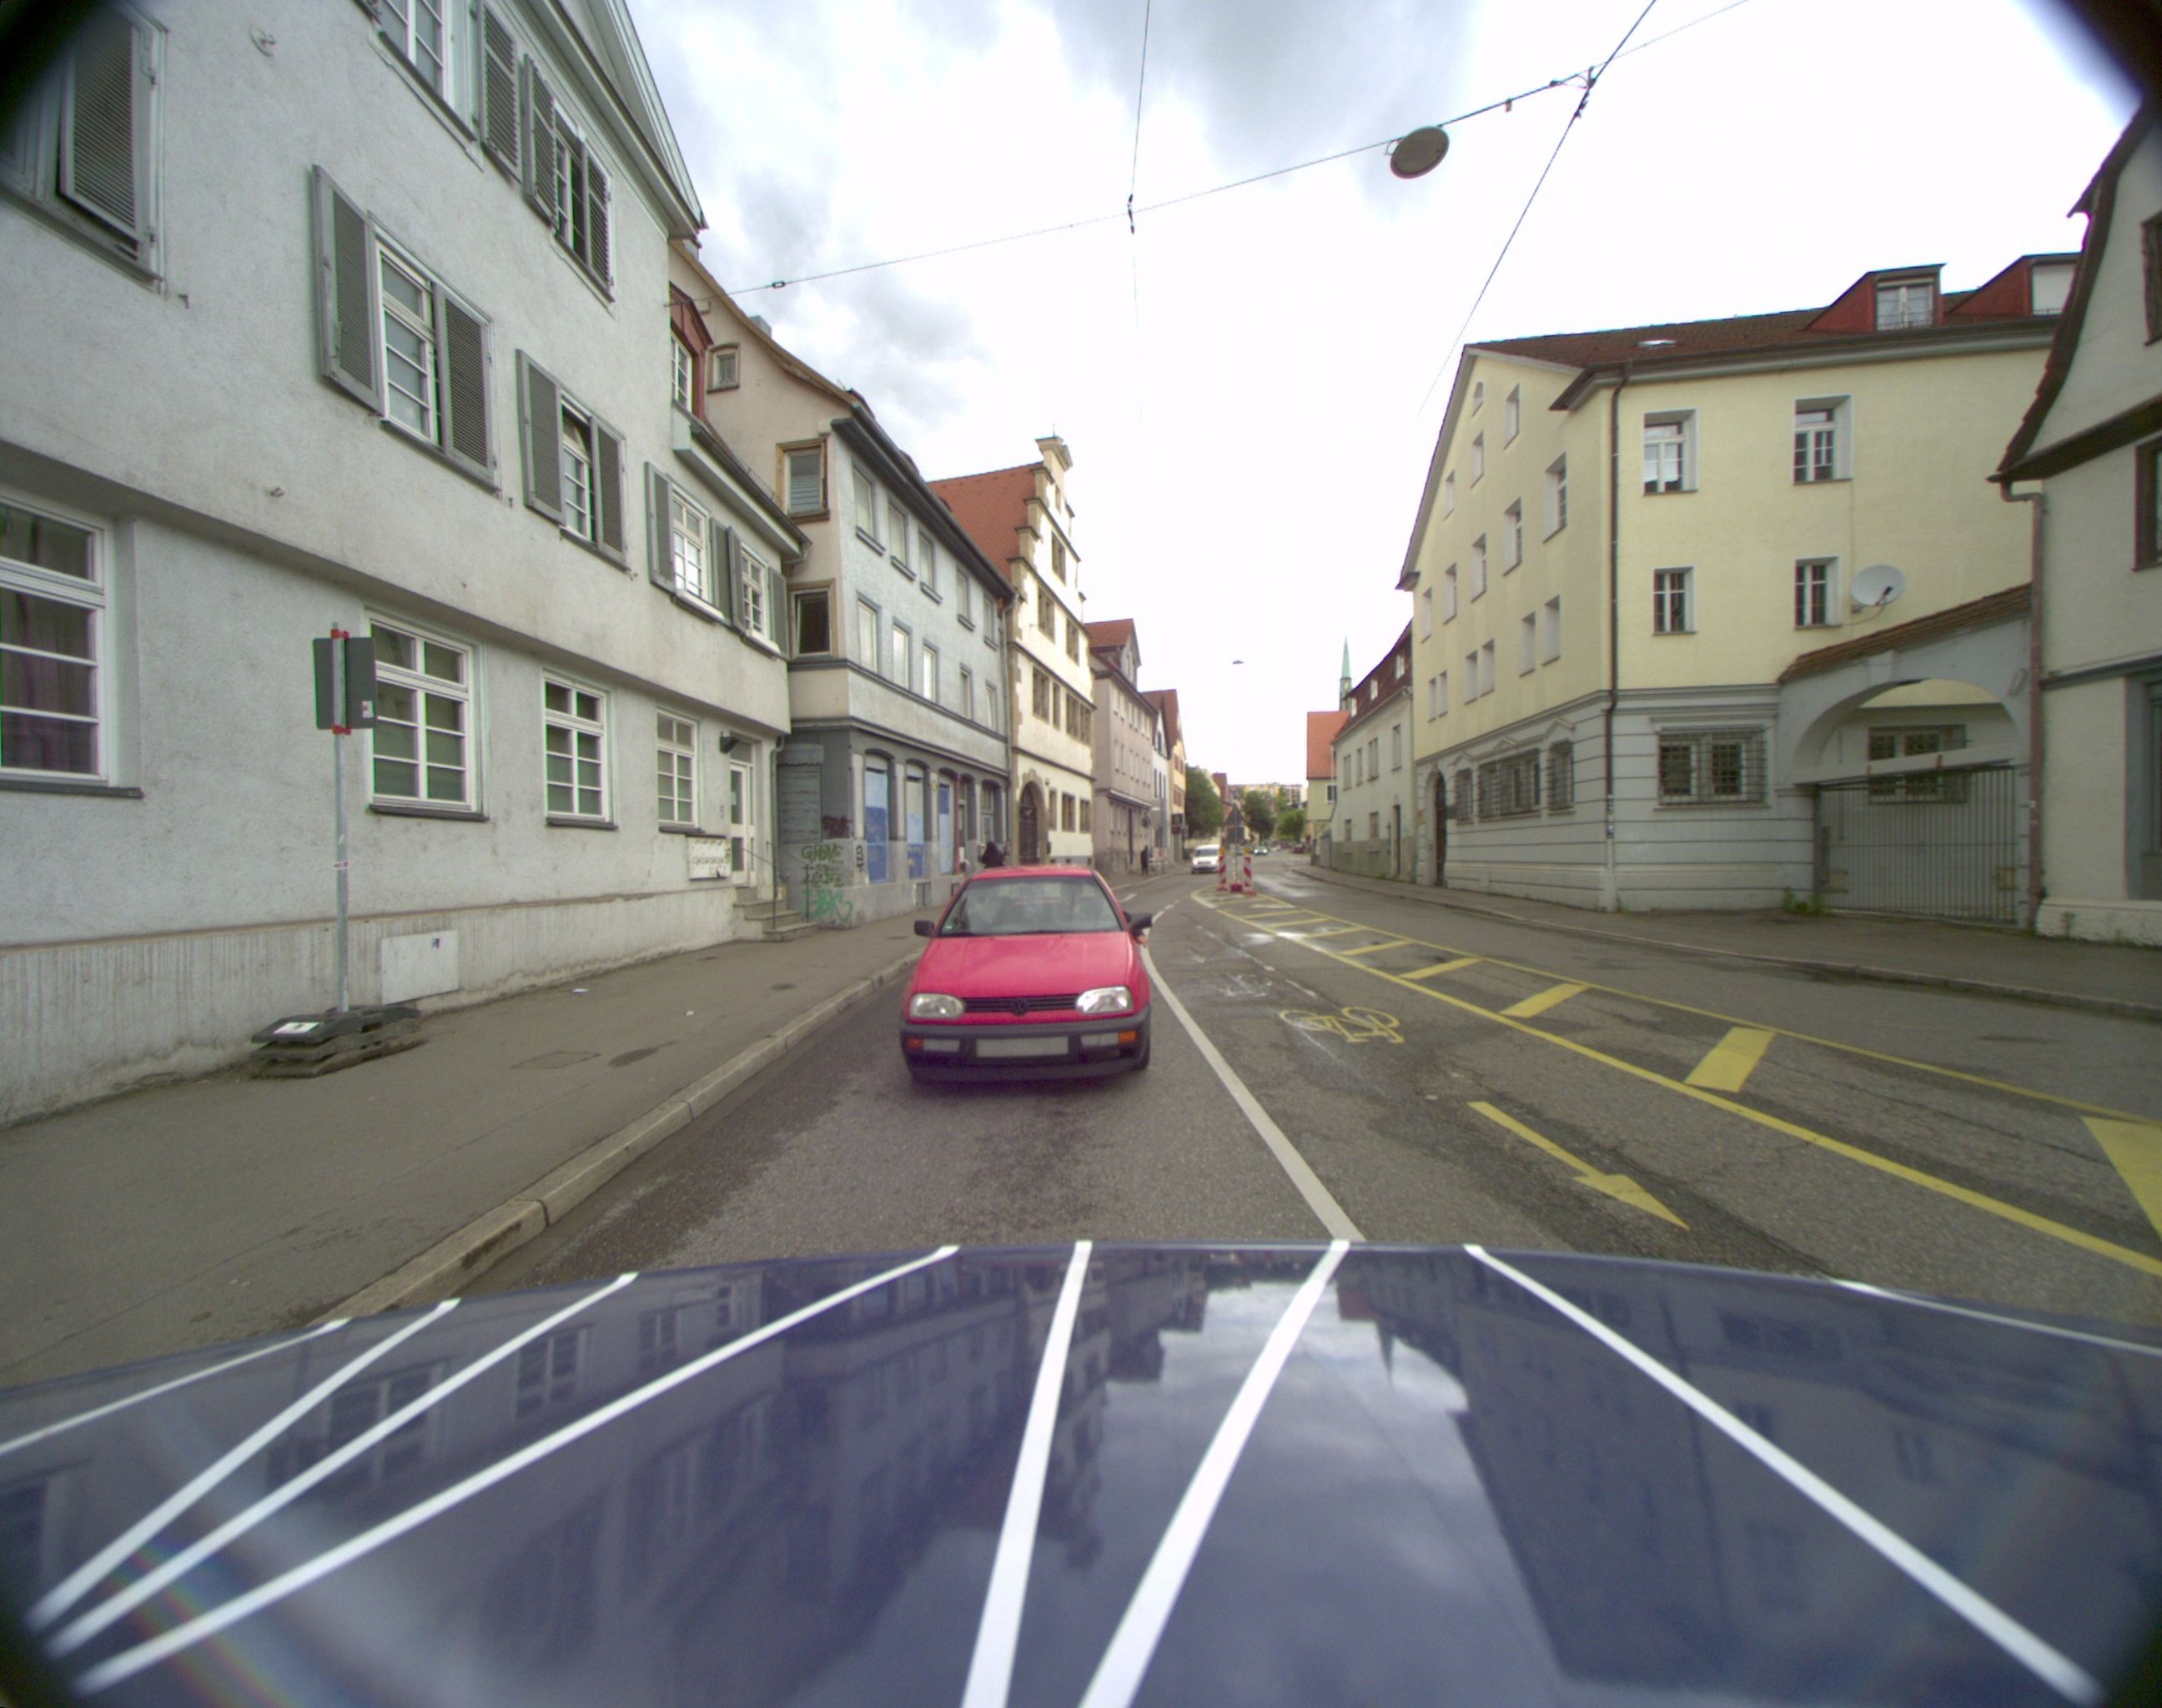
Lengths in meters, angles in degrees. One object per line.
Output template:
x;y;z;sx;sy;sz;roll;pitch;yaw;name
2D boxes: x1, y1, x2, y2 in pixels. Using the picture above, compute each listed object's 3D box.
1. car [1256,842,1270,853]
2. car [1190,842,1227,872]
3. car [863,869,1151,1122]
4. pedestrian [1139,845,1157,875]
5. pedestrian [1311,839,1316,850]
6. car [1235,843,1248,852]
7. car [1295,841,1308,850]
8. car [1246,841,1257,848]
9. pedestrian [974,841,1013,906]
29.725;-1.091;123.961;1.996;1.669;4.004;-1;1;15;car
8.063;0.142;47.899;1.996;1.777;4.471;0;2;13;car
-0.442;0.876;6.514;1.685;1.418;4.021;-1;0;0;car
3.739;0.309;42.435;0.833;1.646;0.945;-1;0;15;pedestrian
44.739;-1.816;146.387;0.835;2.002;0.846;-1;1;13;pedestrian
28.310;-1.116;133.614;2.031;1.546;4.004;0;1;14;car
42.642;-1.659;146.794;2.210;1.668;4.502;0;1;14;car
34.631;-1.864;154.215;1.819;1.380;4.005;0;1;17;car
-2.304;0.509;20.078;0.756;1.658;0.810;2;1;11;pedestrian
